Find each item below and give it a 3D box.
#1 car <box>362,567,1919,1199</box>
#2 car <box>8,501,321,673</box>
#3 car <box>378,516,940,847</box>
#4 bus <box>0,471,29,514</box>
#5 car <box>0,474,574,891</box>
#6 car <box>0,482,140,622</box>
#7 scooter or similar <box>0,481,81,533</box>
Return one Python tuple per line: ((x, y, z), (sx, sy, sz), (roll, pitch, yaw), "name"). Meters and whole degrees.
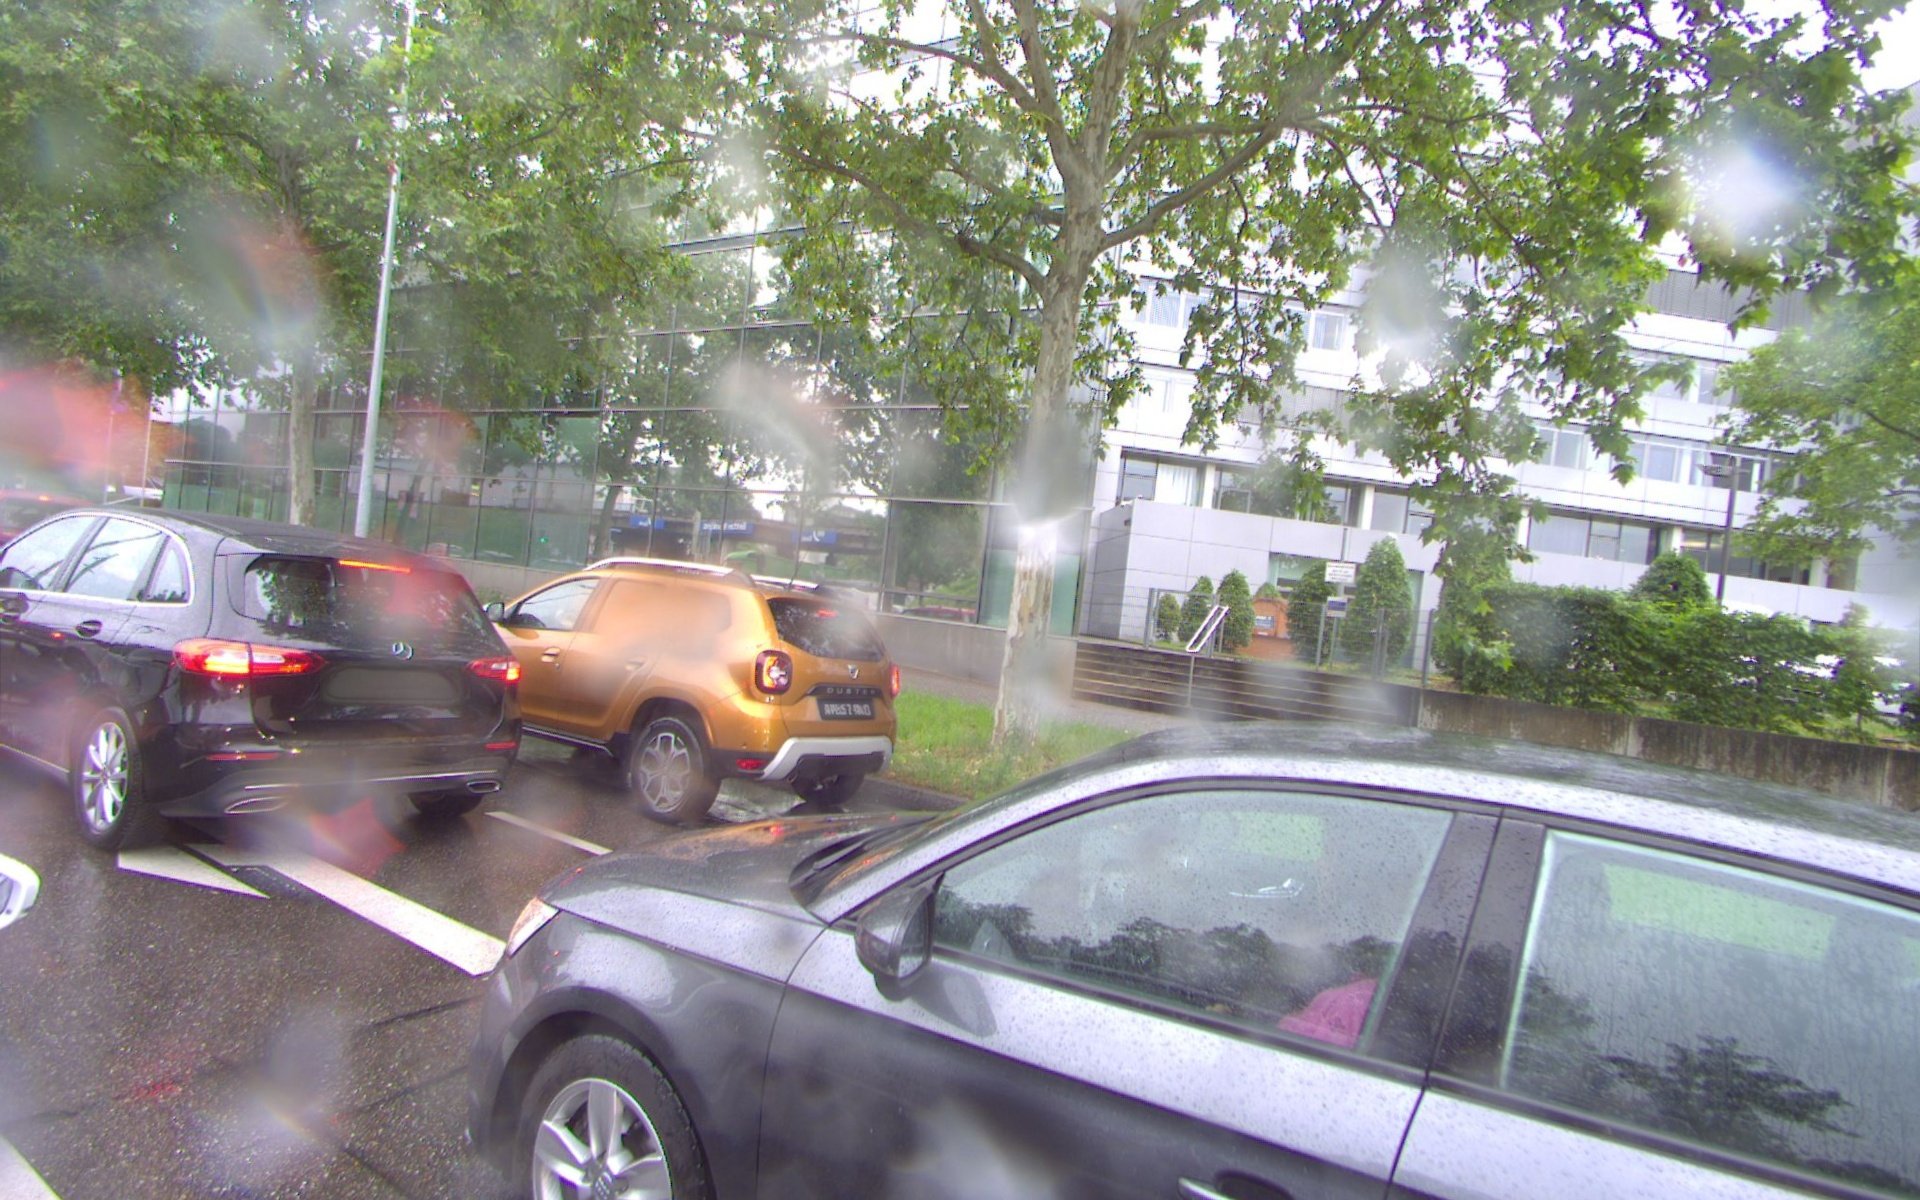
((0.693, 0.901, 2.089), (3.718, 1.445, 1.679), (7, -1, 31), "car")
((-9.002, -0.162, 11.353), (3.332, 1.480, 1.572), (7, -1, 31), "car")
((-2.415, 0.485, 7.742), (4.079, 1.704, 1.679), (8, -2, 32), "car")
((-84.719, -9.637, 82.981), (2.436, 3.465, 12.014), (7, 0, 15), "bus")
((-4.347, 0.242, 5.758), (4.022, 1.573, 1.751), (7, -1, 31), "car")
((-14.076, -0.809, 14.797), (4.201, 1.714, 1.714), (6, -2, 32), "car")
((-54.528, -5.519, 58.149), (5.228, 2.476, 1.893), (7, 0, -9), "scooter or similar")
